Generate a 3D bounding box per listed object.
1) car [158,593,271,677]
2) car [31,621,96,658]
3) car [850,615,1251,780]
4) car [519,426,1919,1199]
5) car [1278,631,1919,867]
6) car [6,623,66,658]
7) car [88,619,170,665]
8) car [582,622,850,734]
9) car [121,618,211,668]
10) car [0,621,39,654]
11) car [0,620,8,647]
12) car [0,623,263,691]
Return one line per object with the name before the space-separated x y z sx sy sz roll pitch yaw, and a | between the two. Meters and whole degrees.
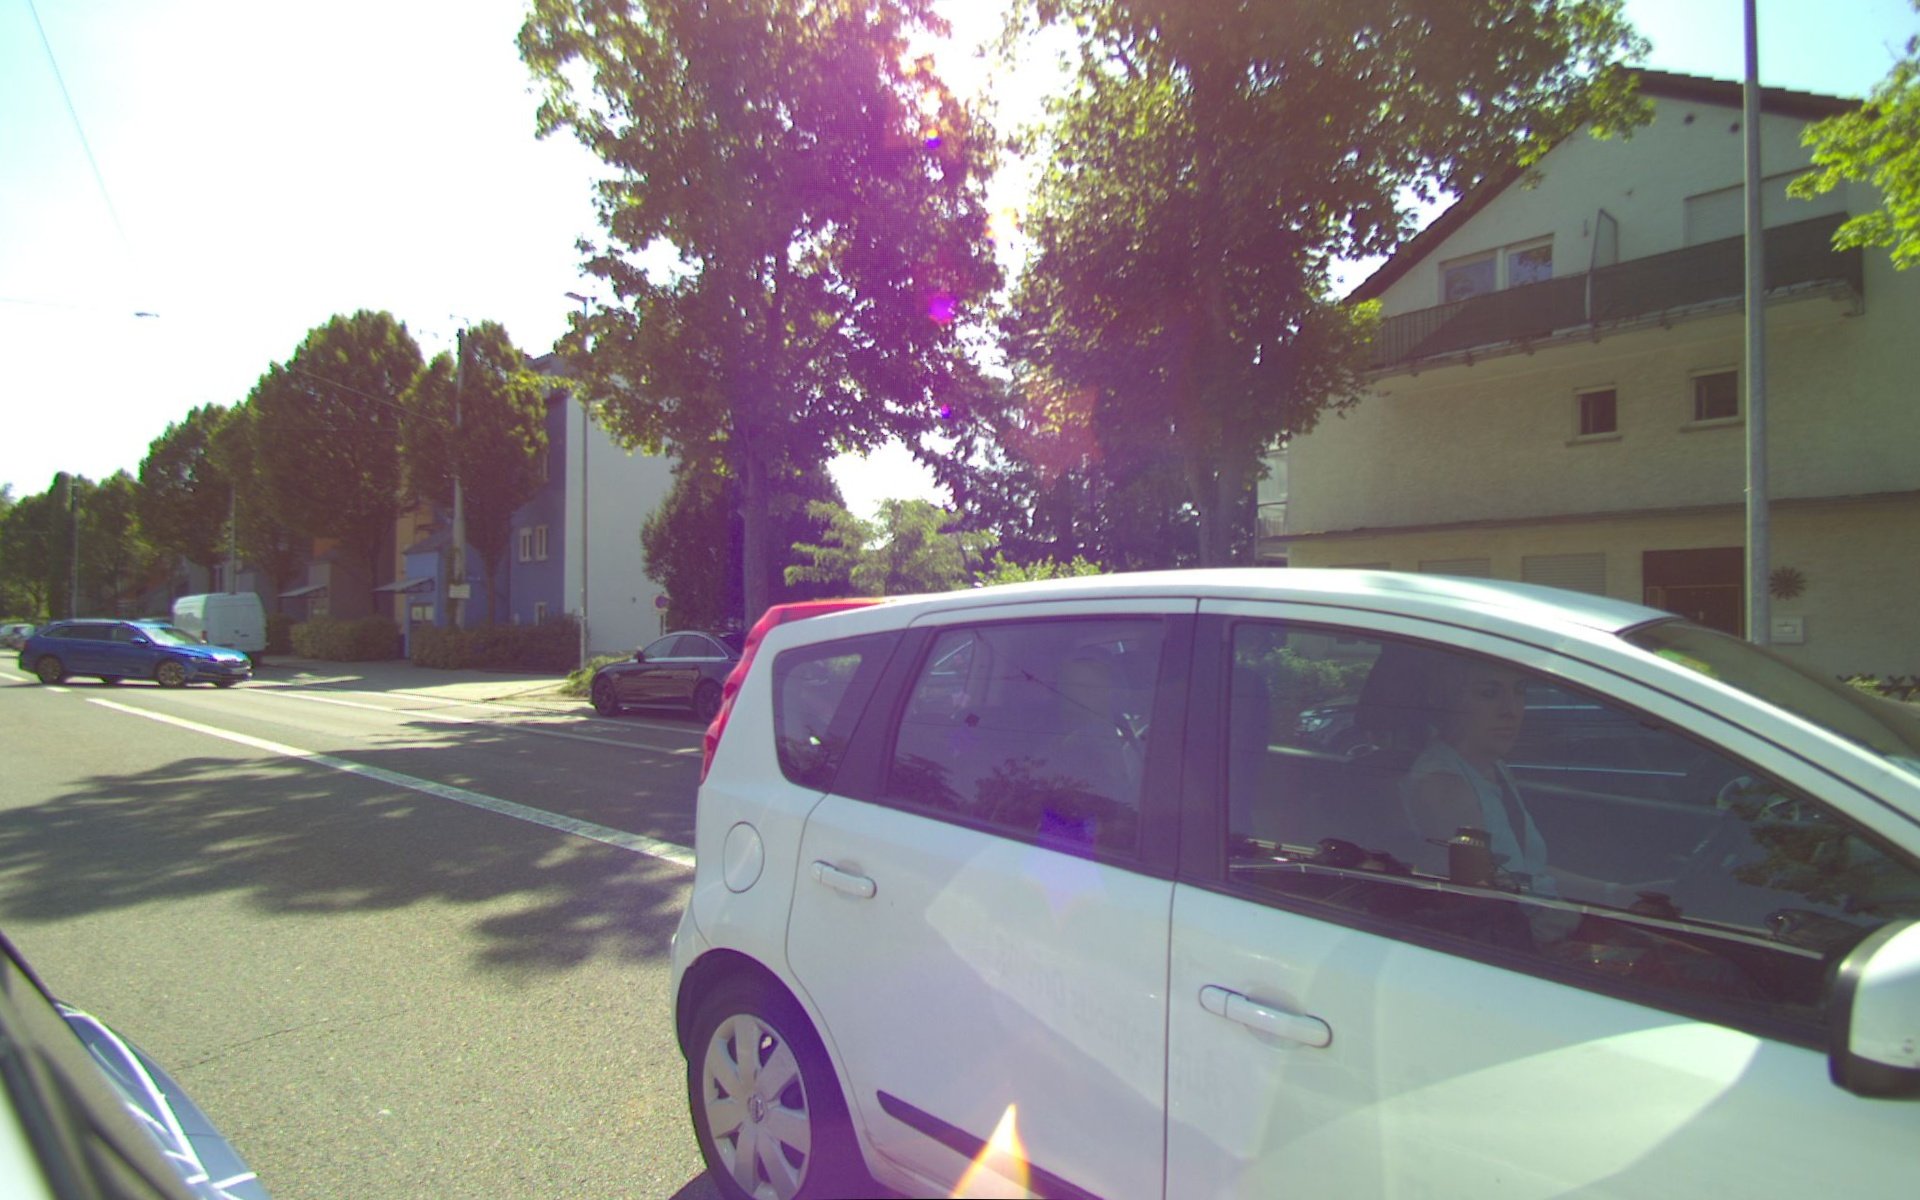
car | -27.300 1.237 36.950 6.213 2.713 1.973 -2 4 43
car | -50.222 2.197 56.676 4.766 1.818 1.974 -2 4 41
car | 0.935 1.019 12.235 4.619 1.583 1.844 -1 0 41
car | 0.946 0.628 2.088 4.544 1.559 1.645 -1 -1 41
car | 5.257 1.011 8.427 4.619 1.426 1.844 -1 0 41
car | -54.898 2.382 60.097 4.766 1.818 1.974 -2 4 41
car | -38.049 1.880 46.315 4.766 1.818 1.974 -2 4 41
car | -4.079 1.157 16.503 4.616 1.583 1.845 -1 -2 39
car | -33.644 1.807 42.842 4.766 1.818 1.974 -2 4 41
car | -59.984 2.350 63.935 4.766 1.818 1.974 -2 4 41
car | -68.776 2.440 71.184 4.766 1.818 1.974 -2 4 41
car | -18.972 1.269 23.126 5.014 1.441 1.887 0 -2 7
